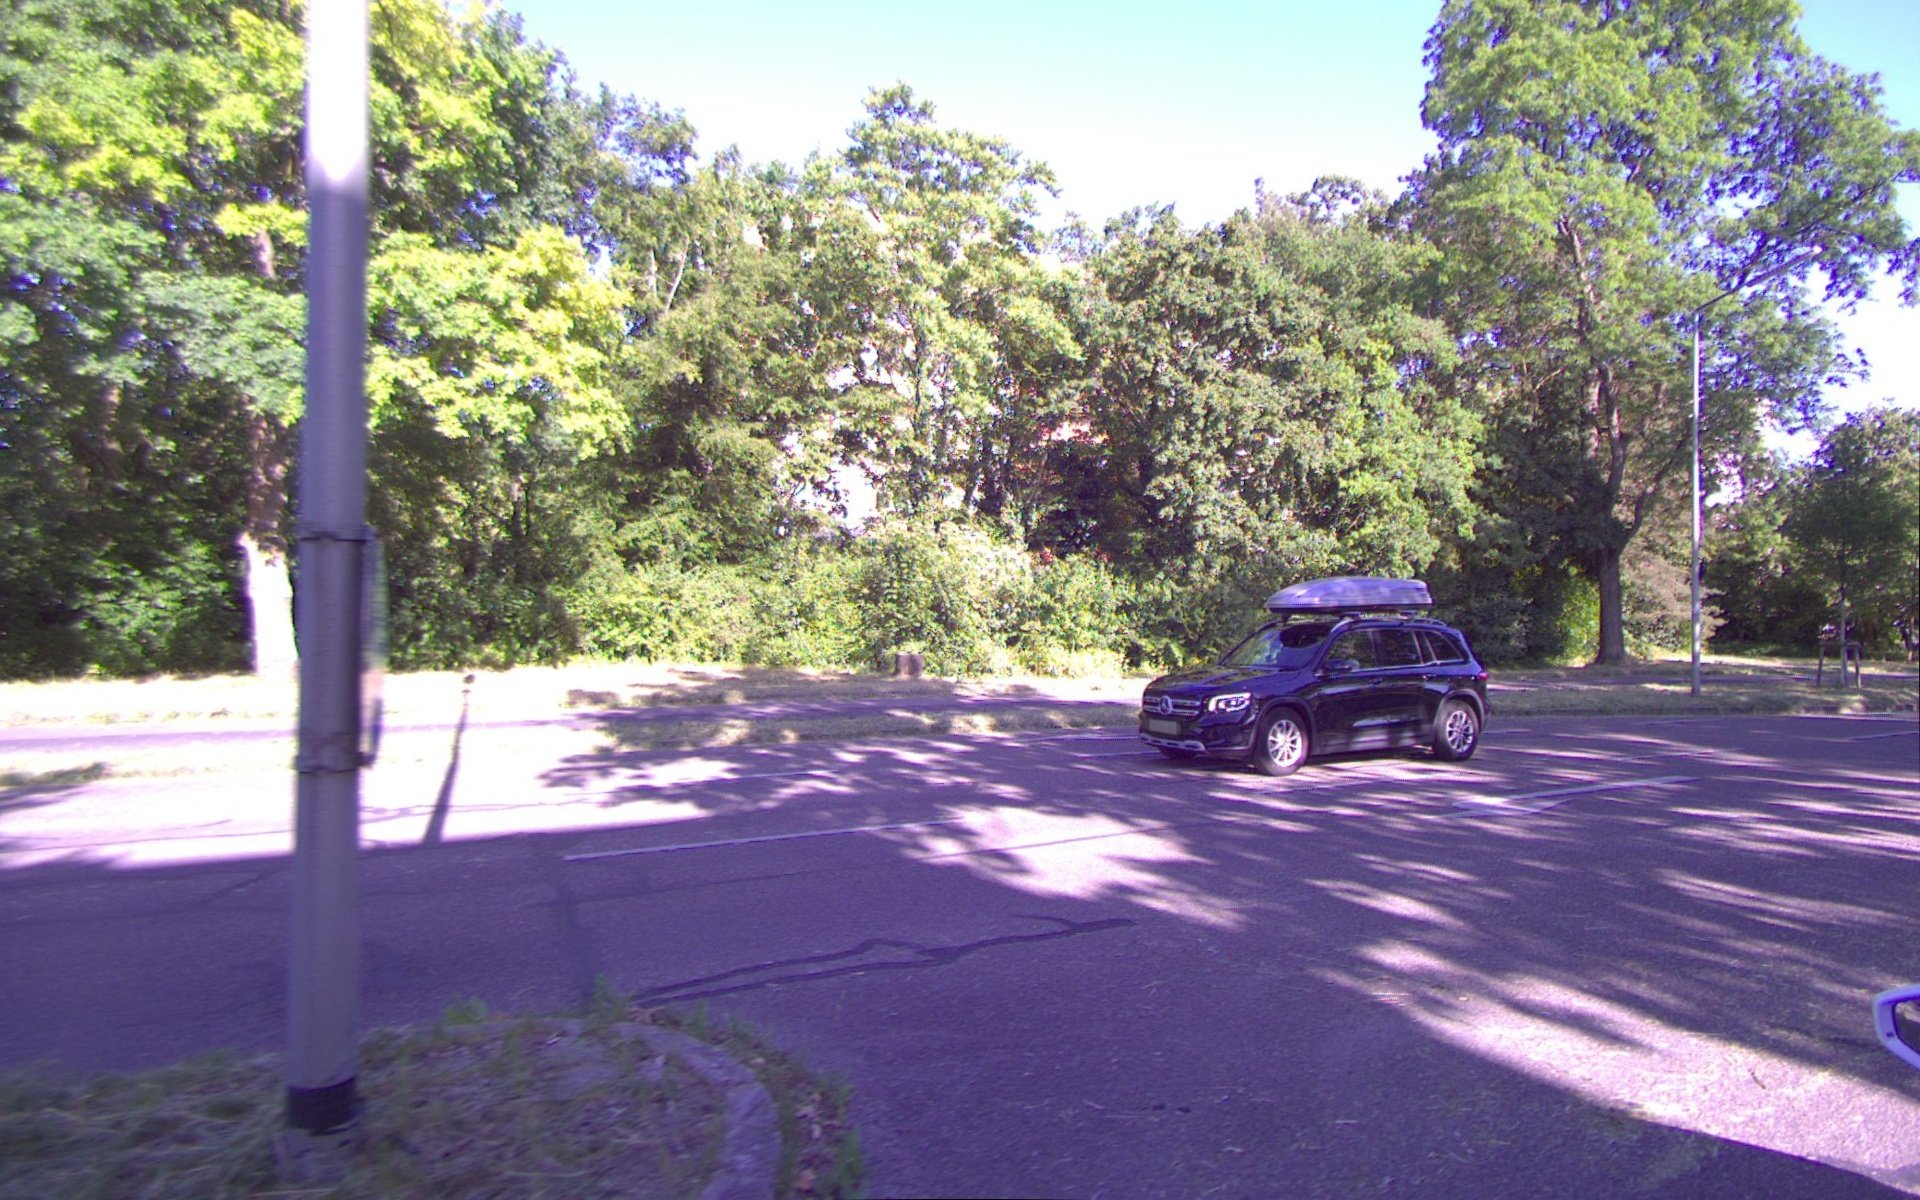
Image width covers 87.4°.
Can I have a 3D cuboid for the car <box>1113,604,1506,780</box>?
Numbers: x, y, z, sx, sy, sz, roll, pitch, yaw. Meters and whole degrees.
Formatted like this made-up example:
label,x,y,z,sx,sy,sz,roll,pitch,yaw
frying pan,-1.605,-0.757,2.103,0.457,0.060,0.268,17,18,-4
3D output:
label,x,y,z,sx,sy,sz,roll,pitch,yaw
car,4.132,0.984,11.774,4.448,1.730,1.833,1,-2,-28
